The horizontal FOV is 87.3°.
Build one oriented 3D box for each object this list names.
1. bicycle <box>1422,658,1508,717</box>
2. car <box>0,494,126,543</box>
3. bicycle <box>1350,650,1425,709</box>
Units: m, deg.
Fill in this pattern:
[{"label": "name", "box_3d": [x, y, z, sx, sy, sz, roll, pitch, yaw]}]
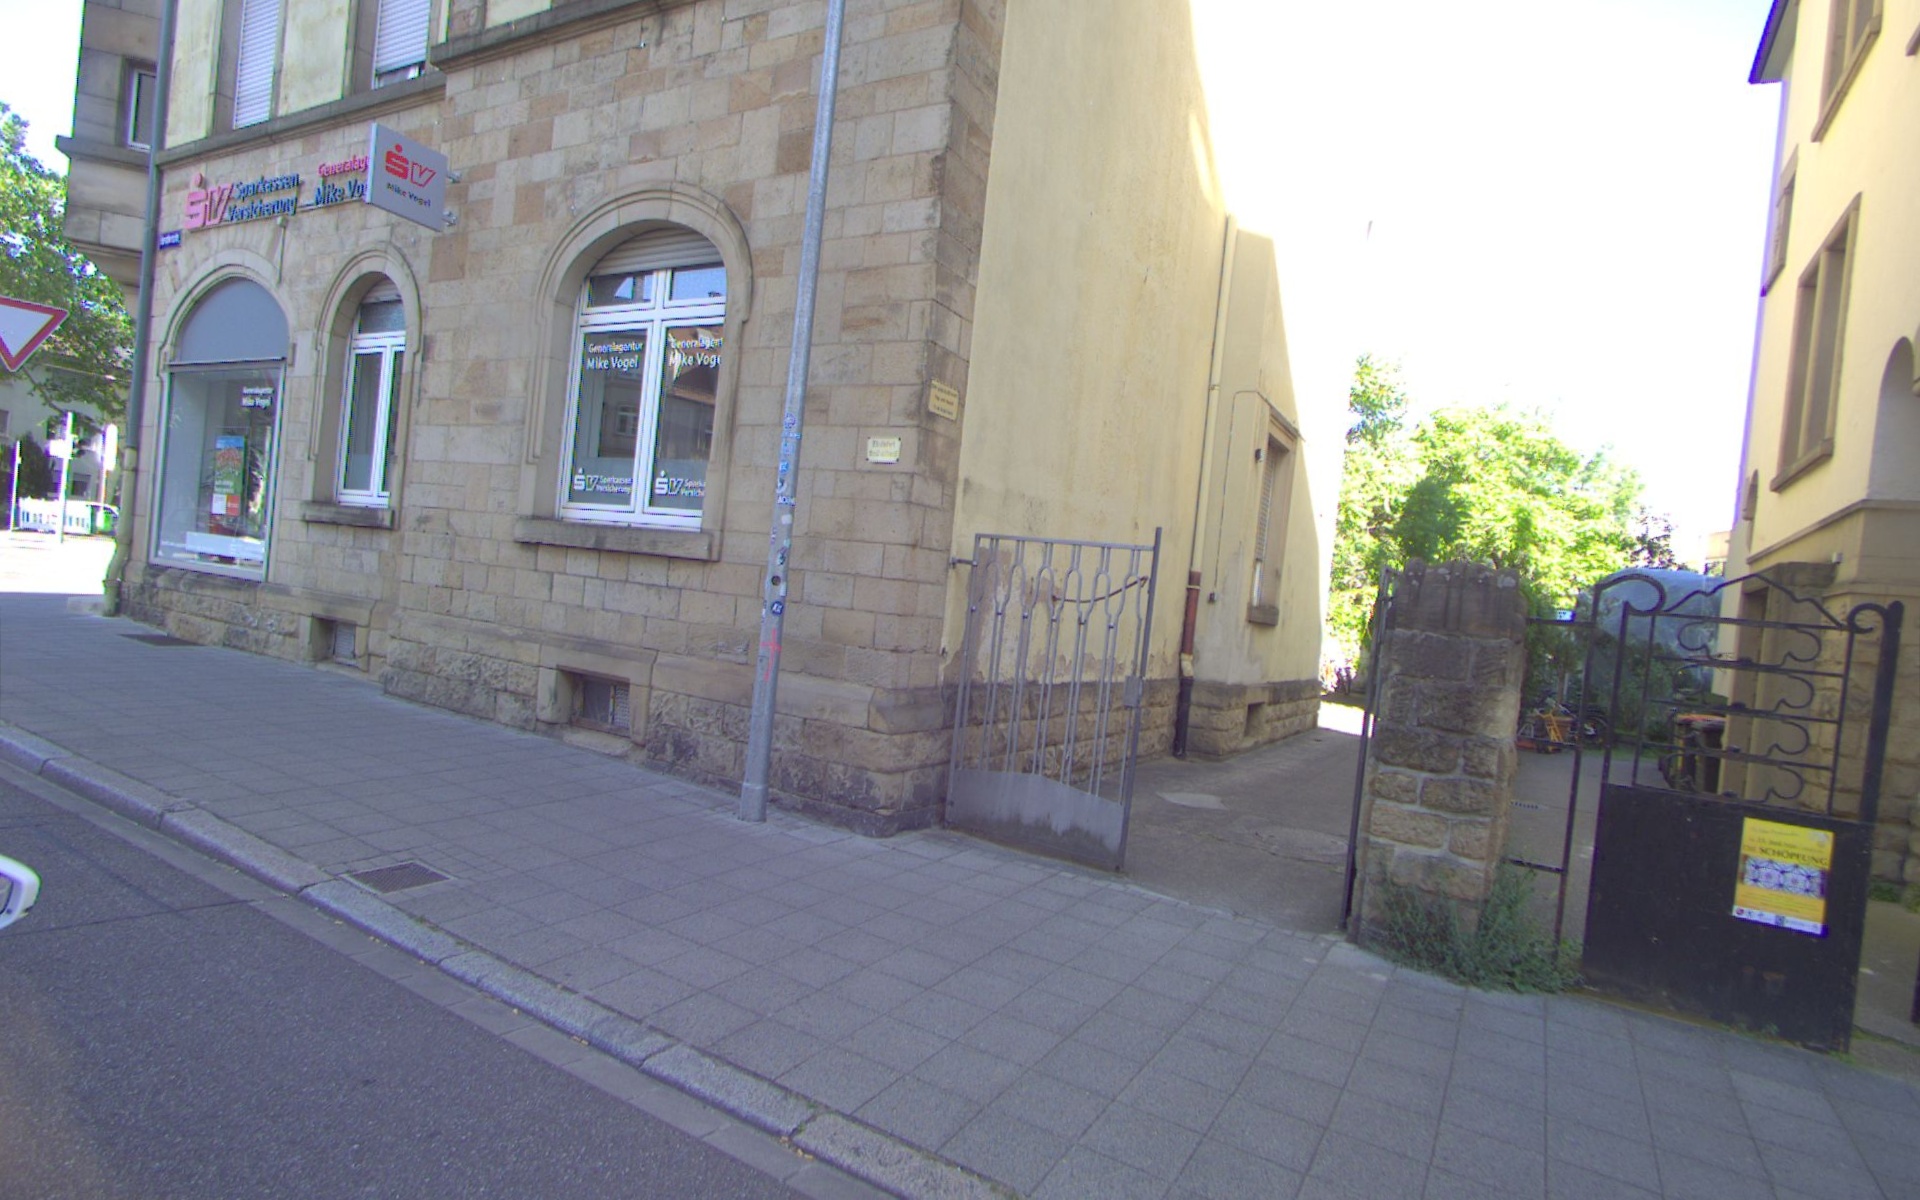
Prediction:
[{"label": "bicycle", "box_3d": [12.297, 2.104, 24.617, 0.855, 1.124, 2.864, 6, 0, 7]}, {"label": "car", "box_3d": [-35.312, -3.168, 39.551, 1.577, 1.370, 3.666, 6, -1, 9]}, {"label": "bicycle", "box_3d": [10.610, 1.947, 25.088, 0.860, 1.180, 2.659, 6, 0, 6]}]
